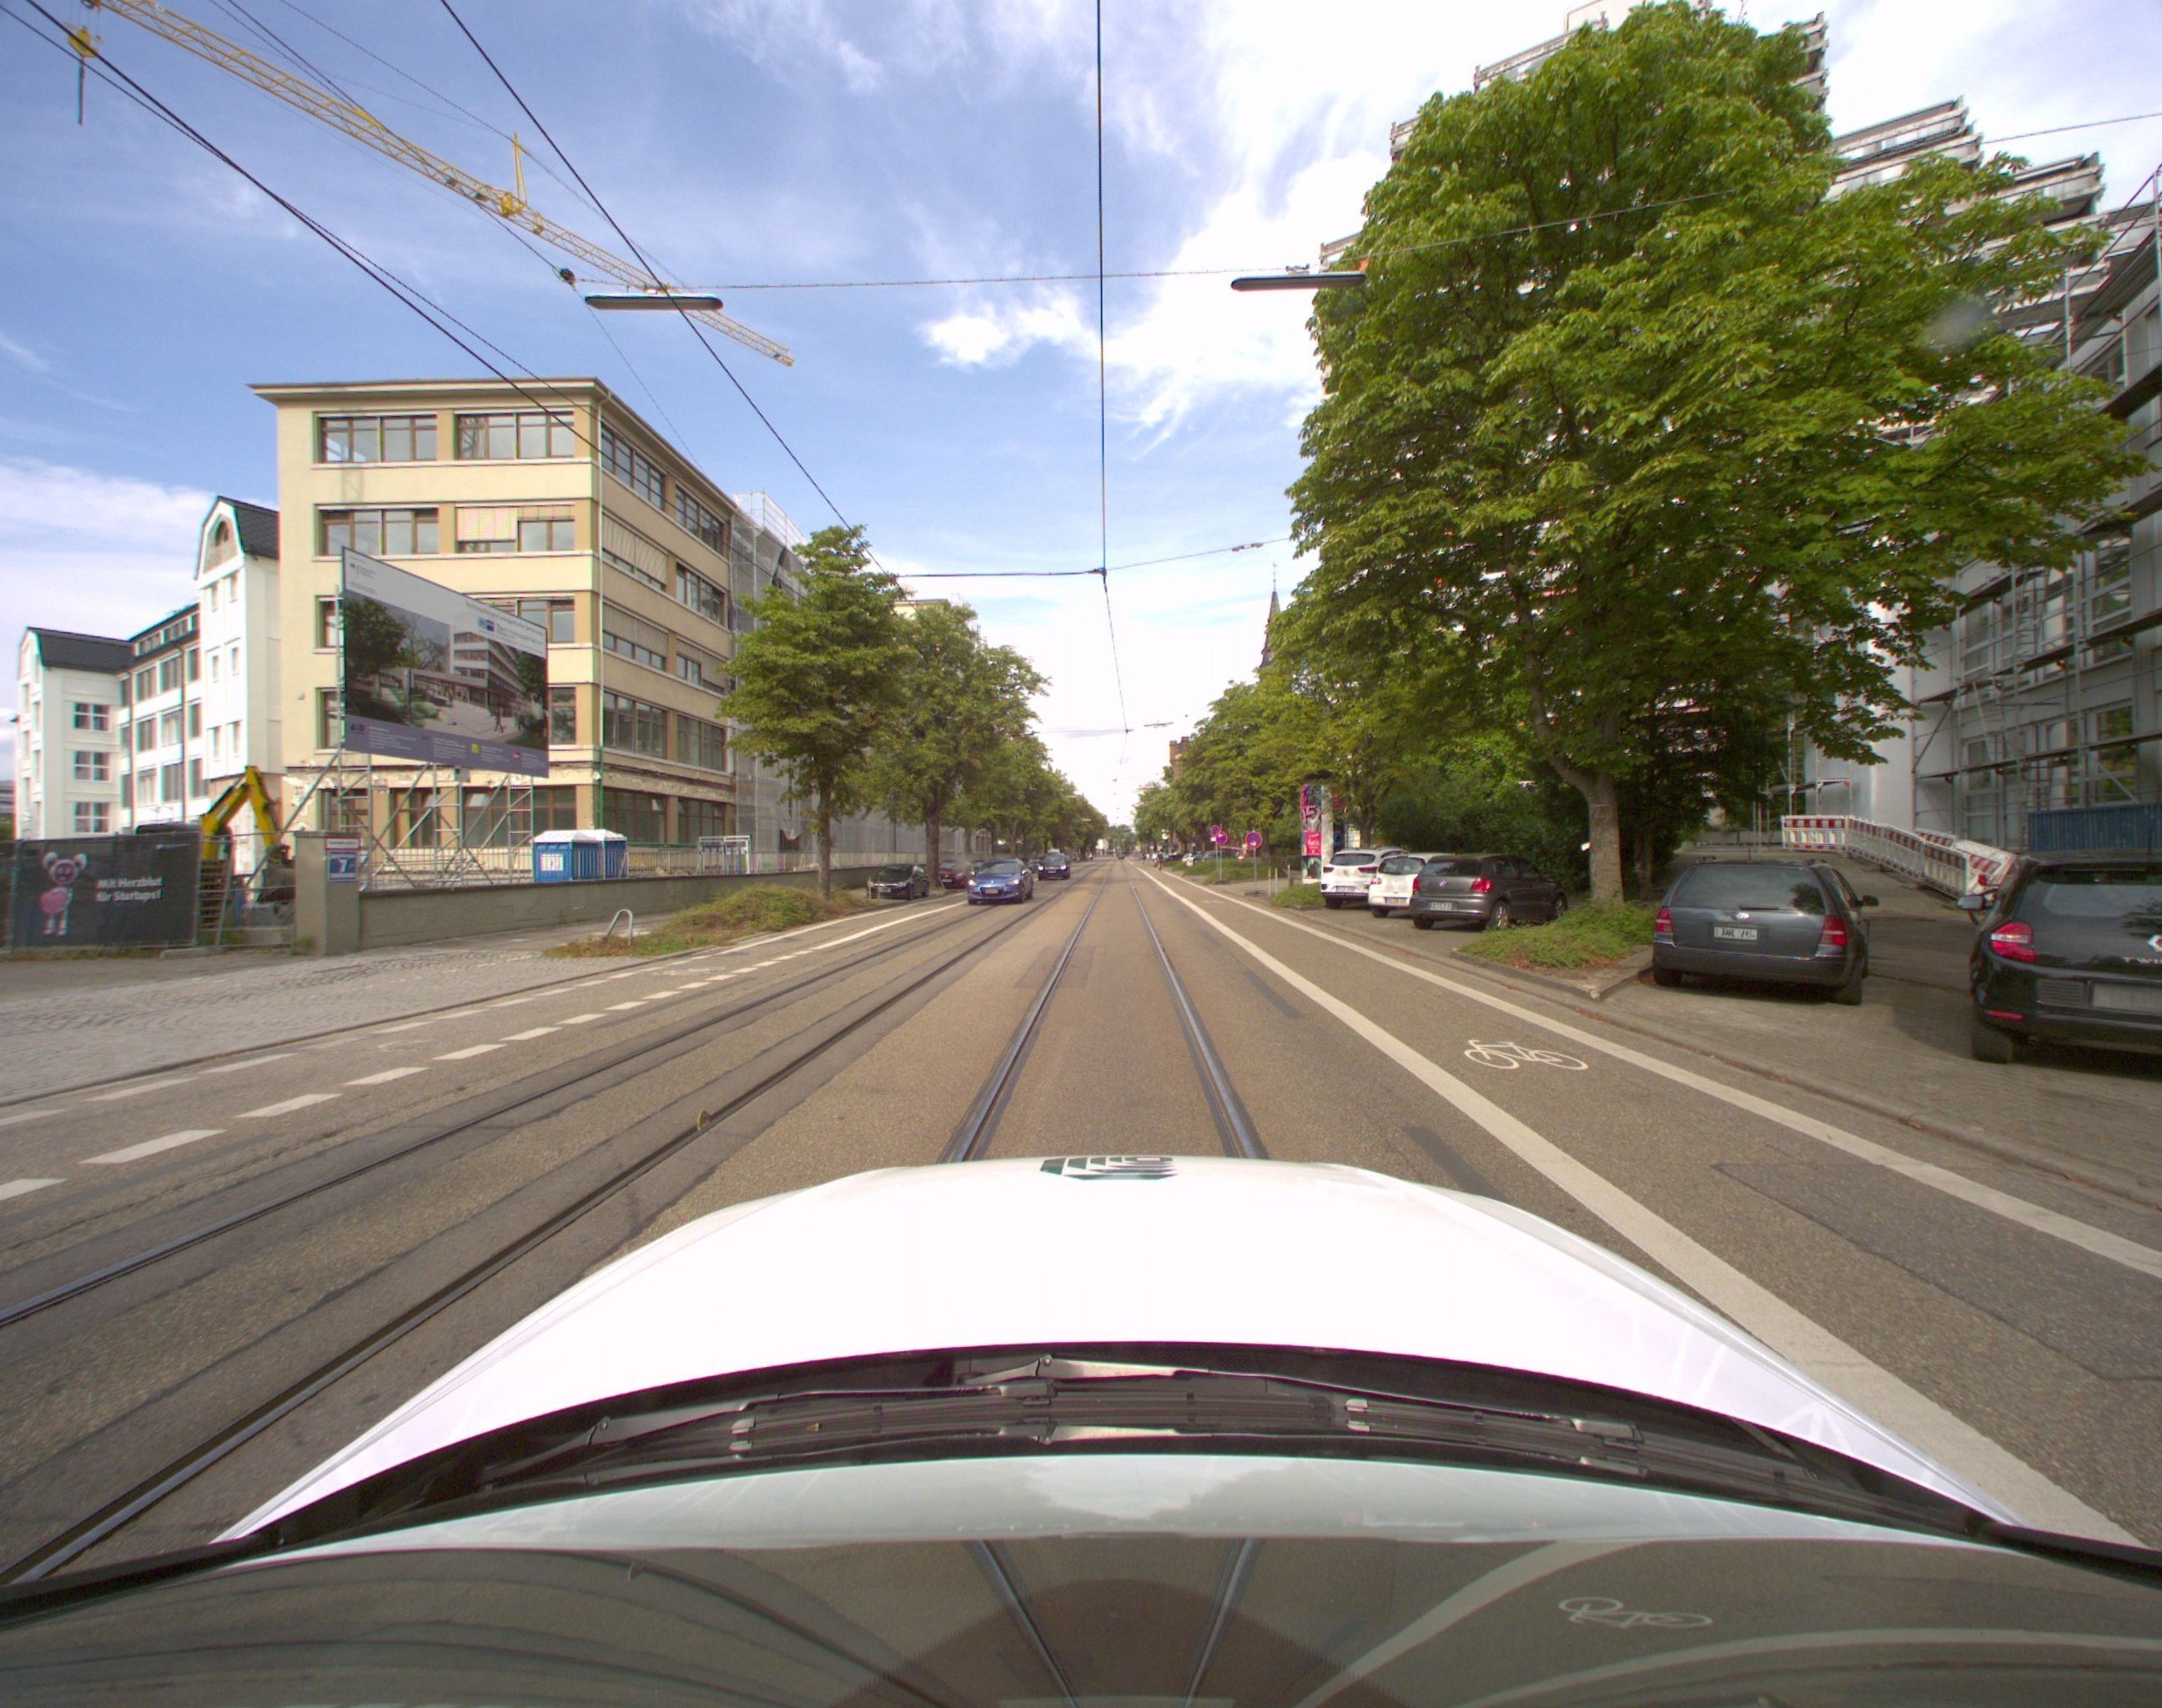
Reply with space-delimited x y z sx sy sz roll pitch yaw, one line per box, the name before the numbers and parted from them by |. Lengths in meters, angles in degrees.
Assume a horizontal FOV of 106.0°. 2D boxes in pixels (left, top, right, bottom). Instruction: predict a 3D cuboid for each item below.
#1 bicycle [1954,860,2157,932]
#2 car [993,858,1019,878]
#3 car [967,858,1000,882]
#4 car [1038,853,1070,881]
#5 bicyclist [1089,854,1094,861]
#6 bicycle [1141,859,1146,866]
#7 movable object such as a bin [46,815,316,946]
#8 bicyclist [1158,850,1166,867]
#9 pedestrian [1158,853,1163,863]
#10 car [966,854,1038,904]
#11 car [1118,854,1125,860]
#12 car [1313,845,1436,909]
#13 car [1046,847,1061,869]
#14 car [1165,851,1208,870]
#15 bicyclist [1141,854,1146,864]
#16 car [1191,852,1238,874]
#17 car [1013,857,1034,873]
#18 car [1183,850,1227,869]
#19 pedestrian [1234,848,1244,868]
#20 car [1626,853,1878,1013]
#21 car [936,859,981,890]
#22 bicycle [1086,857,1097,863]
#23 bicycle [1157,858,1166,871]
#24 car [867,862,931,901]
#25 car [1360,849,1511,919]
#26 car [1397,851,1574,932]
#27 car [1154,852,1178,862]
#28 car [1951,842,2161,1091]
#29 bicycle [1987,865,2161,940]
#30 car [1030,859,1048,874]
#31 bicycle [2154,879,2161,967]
bicycle | 15.122 0.625 12.724 1.952 1.043 0.598 -1 0 39
car | -5.716 1.049 62.477 1.585 1.402 3.962 0 0 0
car | -6.184 0.999 52.169 1.585 1.402 3.962 0 0 0
car | -1.691 0.794 52.271 1.725 1.628 4.380 -2 0 2
bicyclist | 2.169 0.784 170.041 0.841 1.504 0.771 -1 0 10
bicycle | 8.903 1.217 115.654 0.660 1.043 1.842 -1 0 3
movable object such as a bin | -18.340 0.512 16.727 3.030 2.443 2.506 -1 -1 12
bicyclist | 6.969 0.423 70.215 0.591 1.459 0.875 -1 0 0
pedestrian | 14.108 0.730 144.029 0.741 1.790 0.734 -1 -1 17
car | -2.593 0.785 27.714 1.724 1.496 4.383 -1 0 4
car | 11.952 0.974 241.007 1.788 1.824 4.680 0 0 2
car | 8.069 0.587 22.225 3.667 1.602 1.661 0 -1 -43
car | -3.567 0.512 106.526 1.715 2.704 5.470 0 0 1
car | 9.104 0.533 70.200 3.667 1.602 1.661 0 -1 -43
bicyclist | 8.903 0.711 115.660 0.656 1.496 0.930 -1 0 3
car | 10.060 0.652 61.248 3.667 1.602 1.661 0 -1 -43
car | -5.099 0.988 72.769 1.585 1.402 3.962 0 0 0
car | 10.385 0.449 68.046 3.667 1.602 1.661 0 -1 -43
pedestrian | 14.505 0.381 74.834 0.779 1.826 0.665 -1 0 22
car | 7.886 0.718 9.413 4.194 1.415 1.794 0 -1 -44
car | -6.411 1.040 42.968 1.629 1.496 3.964 0 0 2
bicycle | 2.156 1.212 170.046 2.260 1.189 0.771 0 0 10
bicycle | 6.969 0.886 70.212 0.591 1.043 1.978 -1 0 0
car | -7.142 1.050 32.318 1.585 1.402 3.962 0 0 0
car | 8.309 0.647 18.999 3.663 1.474 1.663 0 -1 -37
car | 8.035 0.661 16.077 3.663 1.419 1.663 0 -1 -37
car | 15.016 0.515 144.354 3.978 1.693 1.998 -1 0 -3
car | 7.887 0.680 6.225 3.436 1.537 1.577 -1 0 -41
bicycle | 14.756 0.684 11.890 1.952 1.043 0.598 -1 0 30
car | -4.288 1.265 82.973 1.585 1.402 3.962 0 0 0
bicycle | 13.618 0.803 9.153 1.817 1.043 0.456 -2 -1 31
